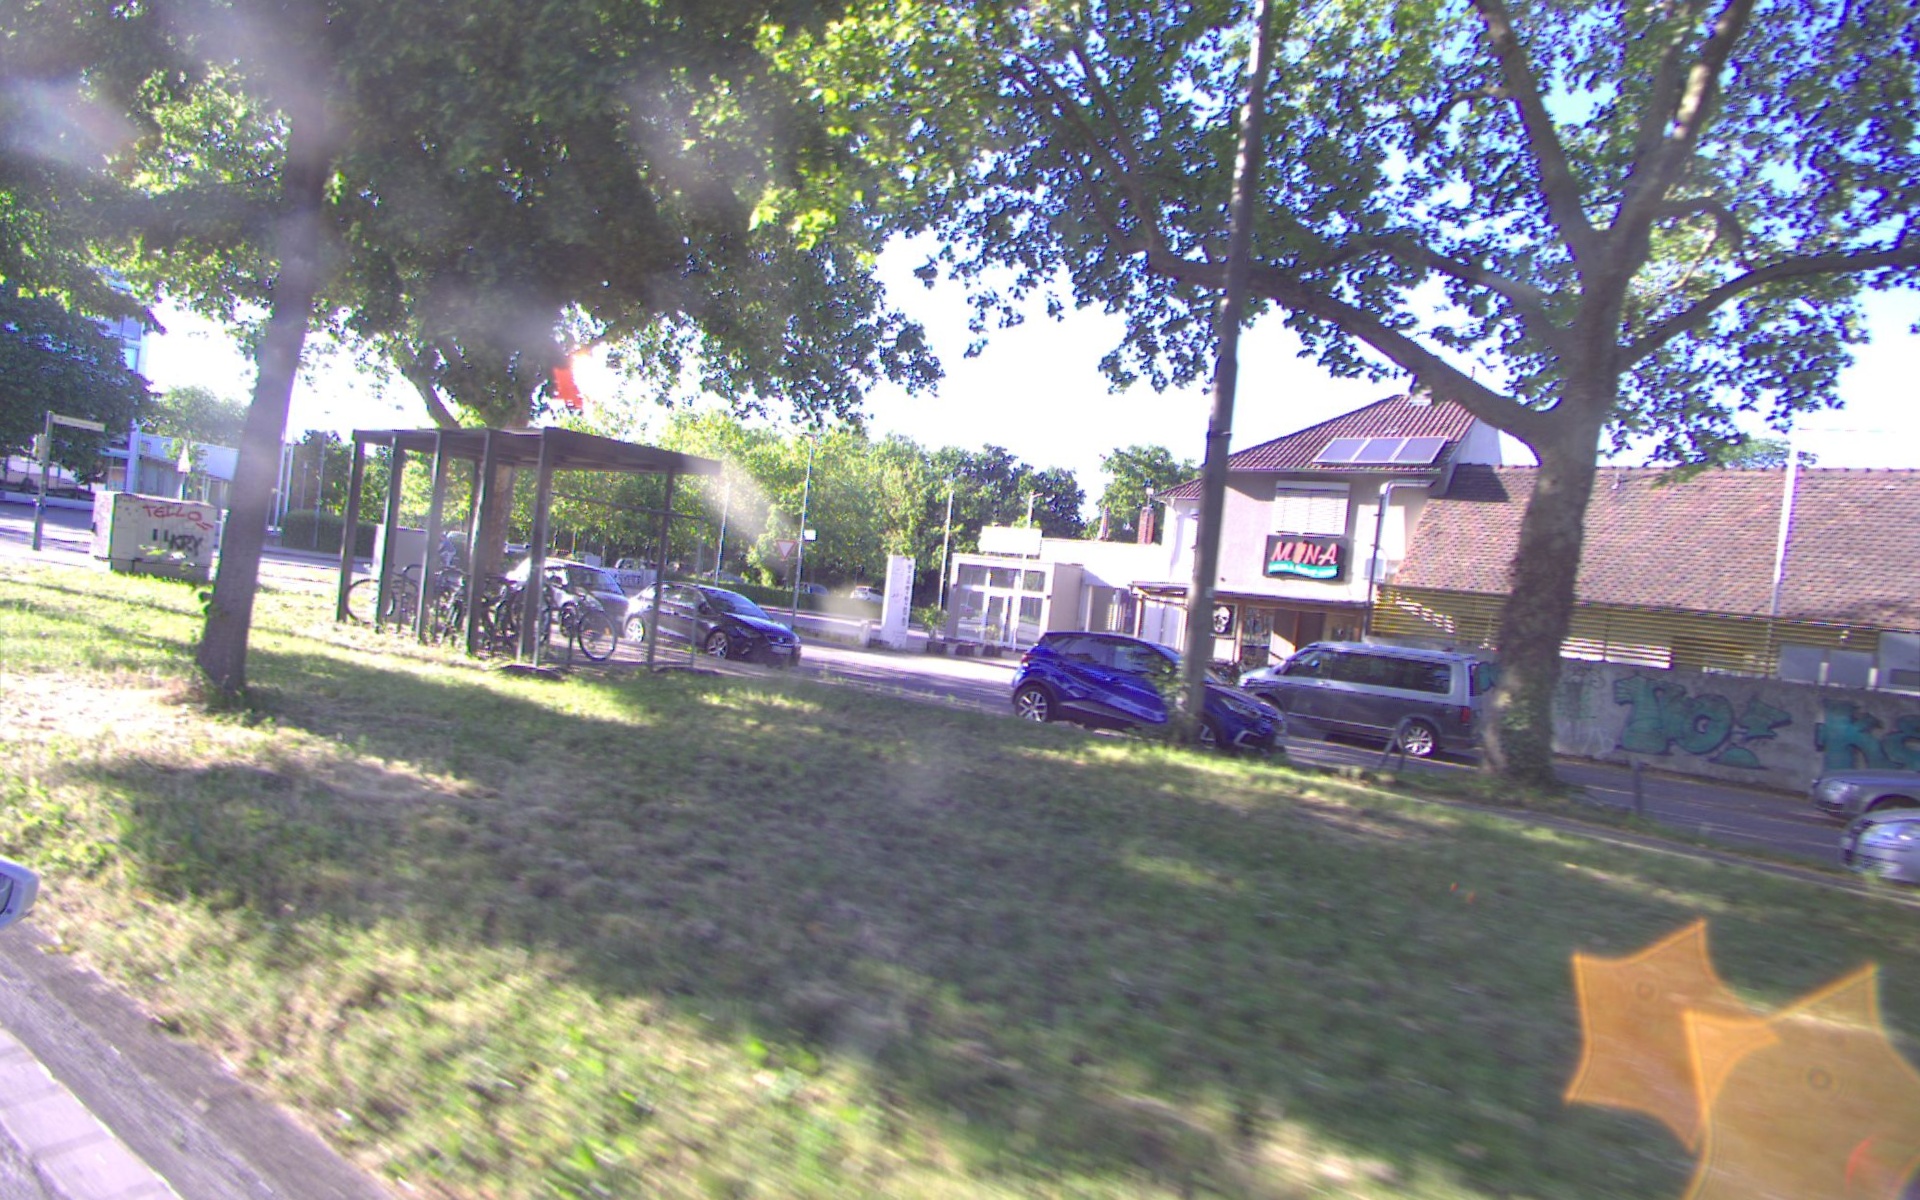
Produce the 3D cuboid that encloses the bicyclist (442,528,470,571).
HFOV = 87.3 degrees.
[{"bbox_3d":[-22.518,-2.254,44.933,0.869,1.759,0.824,6,2,-35],"label":"bicyclist"}]

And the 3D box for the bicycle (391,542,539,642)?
[{"bbox_3d":[-6.870,-0.083,14.040,0.542,1.183,1.697,7,-1,34],"label":"bicycle"}]

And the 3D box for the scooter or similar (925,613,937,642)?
[{"bbox_3d":[-1.277,1.200,43.866,0.257,1.178,1.010,7,0,-11],"label":"scooter or similar"}]

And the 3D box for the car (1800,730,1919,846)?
[{"bbox_3d":[15.822,3.098,14.974,4.839,1.504,1.894,7,-1,37],"label":"car"}]

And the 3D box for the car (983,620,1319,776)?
[{"bbox_3d":[2.693,1.337,14.630,4.279,1.506,1.894,7,-1,36],"label":"car"}]

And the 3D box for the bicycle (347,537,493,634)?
[{"bbox_3d":[-7.824,-0.188,14.648,0.543,1.183,1.694,7,-1,40],"label":"bicycle"}]

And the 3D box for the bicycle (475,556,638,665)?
[{"bbox_3d":[-5.068,0.165,12.755,0.542,1.183,1.804,7,-1,35],"label":"bicycle"}]

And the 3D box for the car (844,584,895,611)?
[{"bbox_3d":[-8.019,-0.223,89.118,3.980,1.481,1.976,13,-3,-42],"label":"car"}]

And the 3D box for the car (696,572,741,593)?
[{"bbox_3d":[-24.139,-1.751,100.700,1.968,1.483,3.990,8,-1,35],"label":"car"}]

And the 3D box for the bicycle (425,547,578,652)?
[{"bbox_3d":[-5.982,0.028,13.225,0.542,1.183,1.698,7,-1,33],"label":"bicycle"}]

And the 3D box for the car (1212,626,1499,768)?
[{"bbox_3d":[7.978,1.856,20.546,4.989,2.063,1.894,7,2,34],"label":"car"}]

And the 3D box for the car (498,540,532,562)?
[{"bbox_3d":[-37.865,-4.148,85.538,1.981,1.483,3.965,8,-1,-33],"label":"car"}]

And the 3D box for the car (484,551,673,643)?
[{"bbox_3d":[-8.479,-0.082,22.264,3.973,1.483,1.895,7,-1,35],"label":"car"}]

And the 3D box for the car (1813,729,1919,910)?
[{"bbox_3d":[10.405,2.242,8.887,3.983,1.504,1.896,7,-1,32],"label":"car"}]

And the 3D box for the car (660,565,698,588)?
[{"bbox_3d":[-24.127,-2.027,86.259,1.981,1.483,3.965,8,-1,-33],"label":"car"}]

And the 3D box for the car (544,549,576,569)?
[{"bbox_3d":[-38.634,-3.990,97.077,1.981,1.483,3.965,8,-1,-33],"label":"car"}]

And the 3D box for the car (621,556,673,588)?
[{"bbox_3d":[-18.297,-1.641,58.665,1.978,1.483,3.970,8,-1,-29],"label":"car"}]

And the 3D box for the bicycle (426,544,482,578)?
[{"bbox_3d":[-22.600,-1.722,44.924,2.084,1.219,0.546,7,1,-35],"label":"bicycle"}]

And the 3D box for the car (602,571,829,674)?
[{"bbox_3d":[-4.864,0.423,19.795,4.278,1.428,1.895,7,-1,36],"label":"car"}]
